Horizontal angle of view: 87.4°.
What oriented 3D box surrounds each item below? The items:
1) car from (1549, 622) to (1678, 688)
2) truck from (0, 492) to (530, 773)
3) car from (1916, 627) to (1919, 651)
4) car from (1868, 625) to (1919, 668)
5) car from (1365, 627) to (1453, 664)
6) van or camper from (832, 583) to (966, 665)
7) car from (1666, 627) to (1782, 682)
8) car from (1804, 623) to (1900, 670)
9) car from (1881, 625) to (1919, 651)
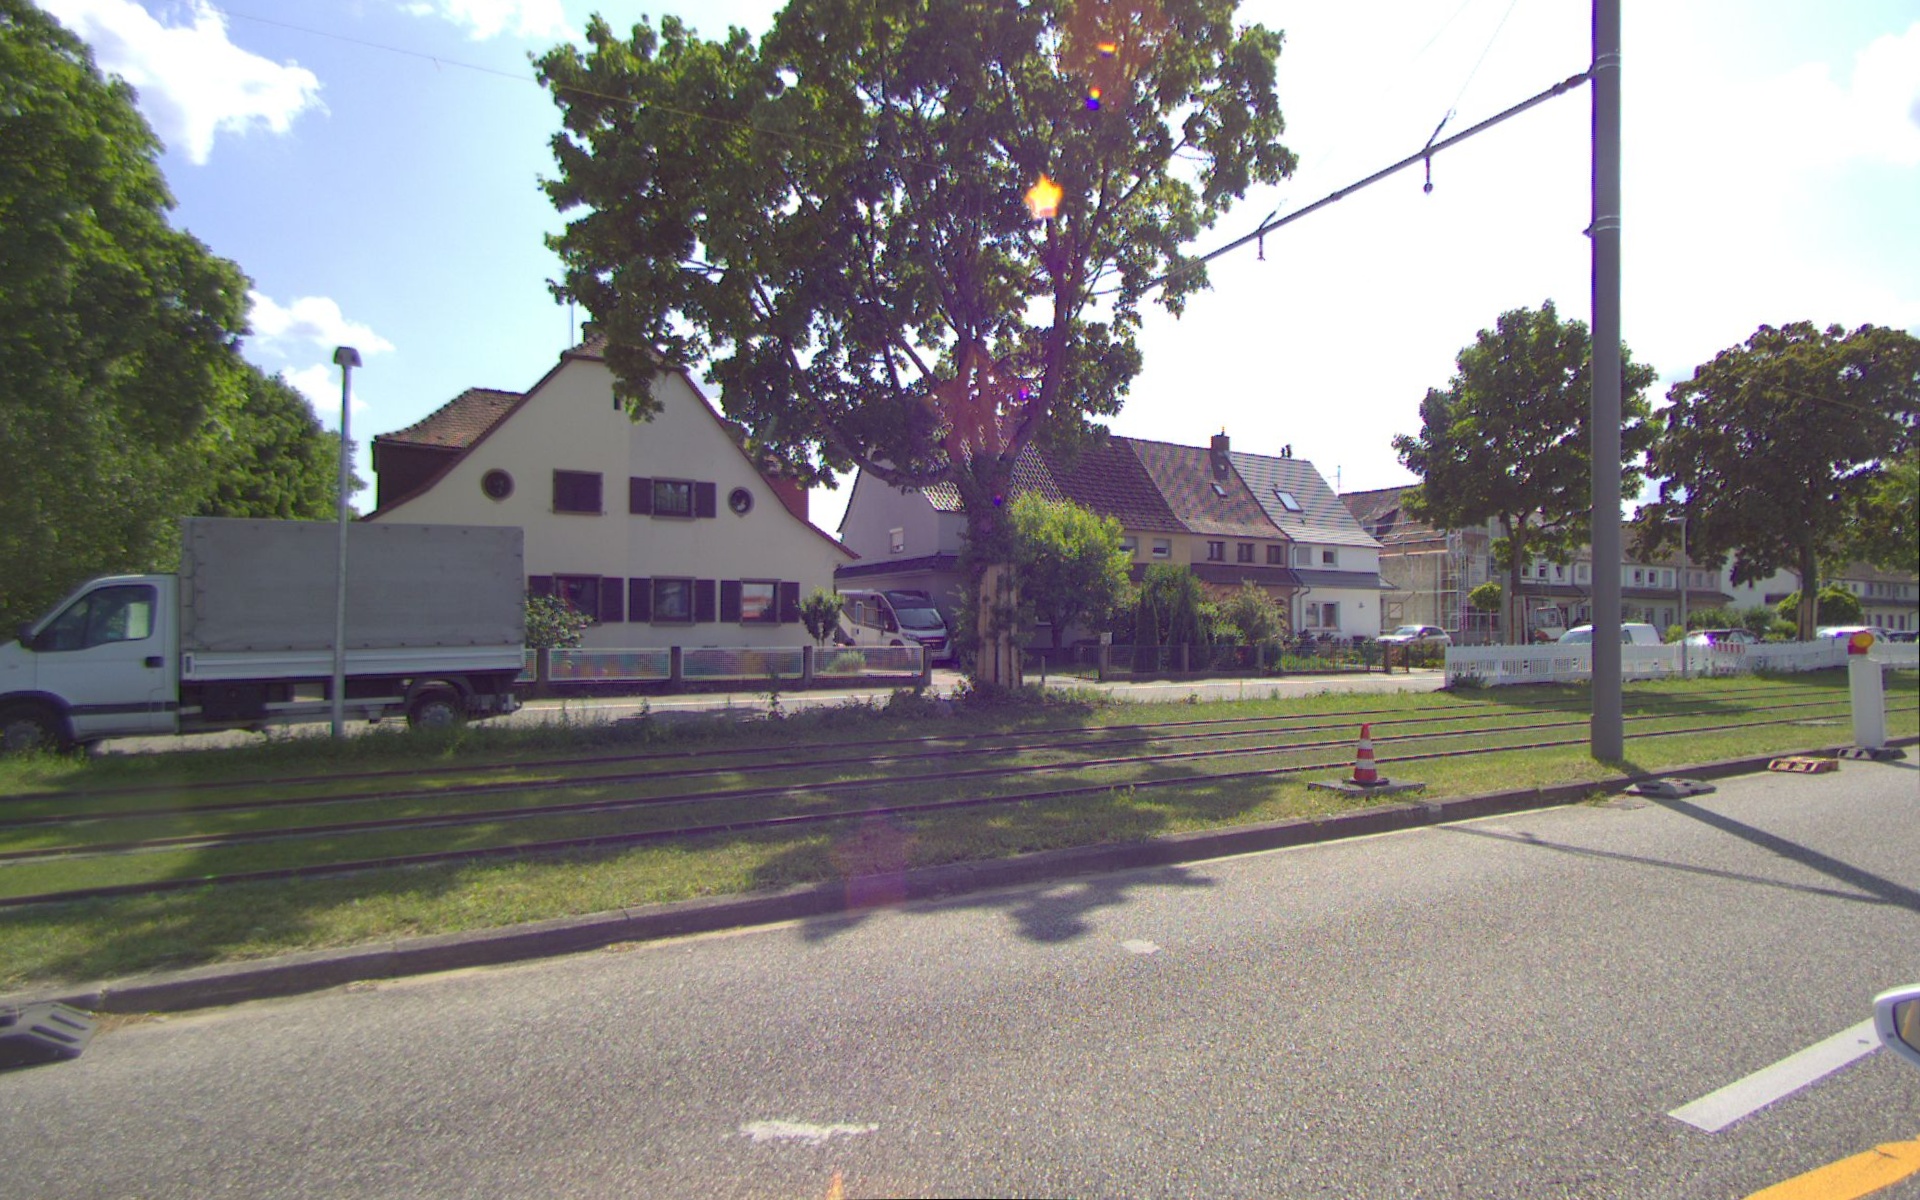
[{"bbox_3d":[19.501,1.602,29.957,3.814,1.841,1.691,1,-2,-30],"label":"car"},{"bbox_3d":[-8.797,0.412,12.930,5.805,3.027,1.994,1,-2,-30],"label":"truck"},{"bbox_3d":[71.917,2.839,73.541,4.013,1.762,1.691,1,-2,-30],"label":"car"},{"bbox_3d":[40.388,1.958,42.599,3.814,1.762,1.691,1,-2,-30],"label":"car"},{"bbox_3d":[19.888,1.990,44.477,3.814,1.614,1.691,1,-2,-30],"label":"car"},{"bbox_3d":[-2.351,0.905,36.647,2.224,2.745,5.963,1,-2,-33],"label":"van or camper"},{"bbox_3d":[25.746,1.797,33.824,4.006,1.762,1.691,1,-2,-30],"label":"car"},{"bbox_3d":[34.980,1.799,39.383,3.814,1.762,1.691,1,-2,-30],"label":"car"},{"bbox_3d":[66.750,2.678,70.731,4.013,1.762,1.691,1,-2,-30],"label":"car"}]
